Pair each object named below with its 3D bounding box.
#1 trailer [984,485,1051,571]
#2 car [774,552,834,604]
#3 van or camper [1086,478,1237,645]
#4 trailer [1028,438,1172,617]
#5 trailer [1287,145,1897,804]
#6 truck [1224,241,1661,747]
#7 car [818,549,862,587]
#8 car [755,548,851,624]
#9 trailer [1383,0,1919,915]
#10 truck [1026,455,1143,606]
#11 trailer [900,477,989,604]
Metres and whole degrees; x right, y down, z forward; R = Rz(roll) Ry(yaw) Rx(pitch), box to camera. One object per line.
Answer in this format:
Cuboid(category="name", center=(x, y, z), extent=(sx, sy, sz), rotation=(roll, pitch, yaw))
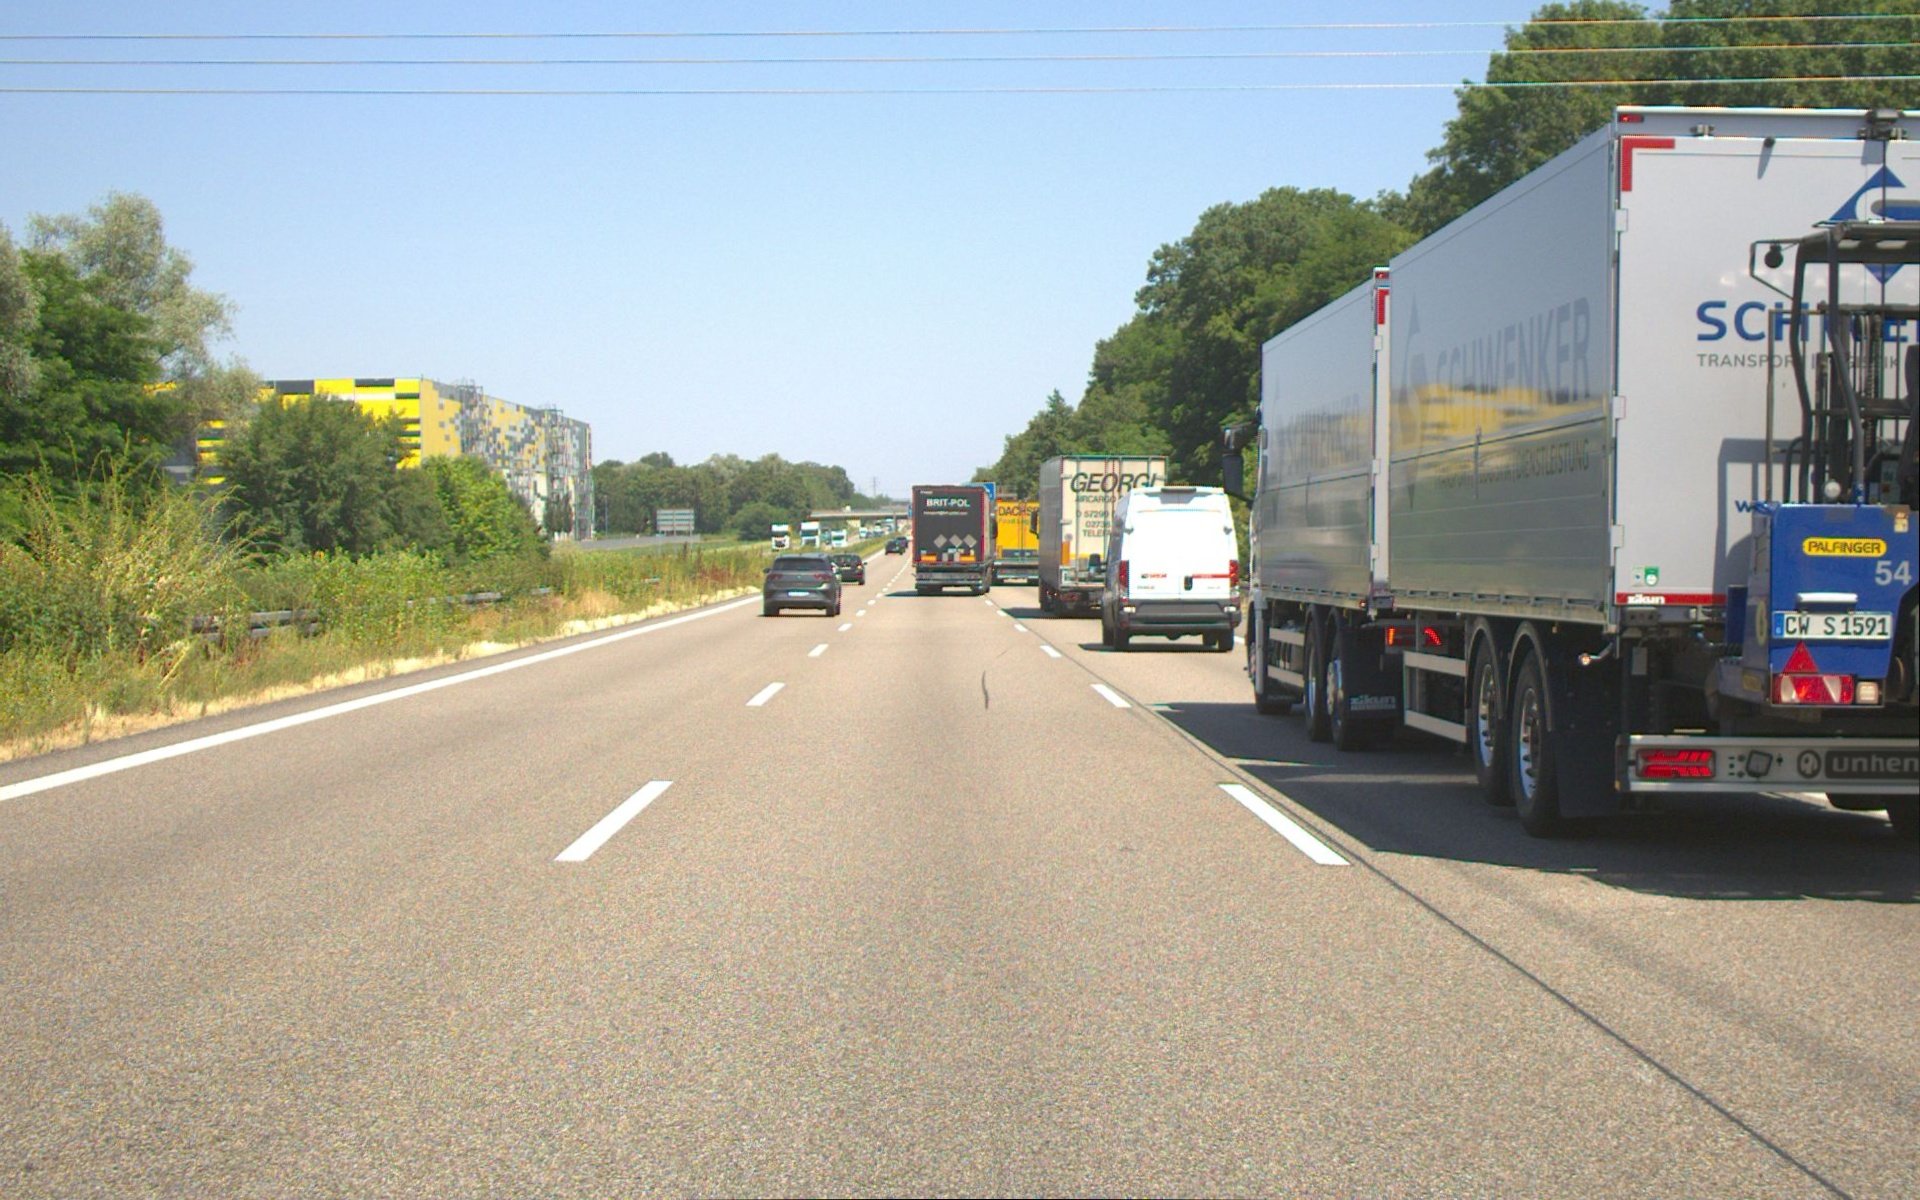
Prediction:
Cuboid(category="trailer", center=(2.664, -3.439, 163.024), extent=(2.834, 3.940, 11.685), rotation=(0, 1, -1))
Cuboid(category="car", center=(-5.352, -0.785, 118.311), extent=(1.993, 1.722, 4.131), rotation=(0, 1, -1))
Cuboid(category="van or camper", center=(3.317, -0.663, 57.758), extent=(2.022, 2.628, 6.488), rotation=(1, 1, -1))
Cuboid(category="trailer", center=(3.501, -1.866, 89.453), extent=(2.993, 4.274, 13.419), rotation=(1, 1, -1))
Cuboid(category="trailer", center=(4.245, -0.822, 24.859), extent=(2.920, 4.027, 7.317), rotation=(1, 1, -1))
Cuboid(category="truck", center=(4.127, -0.894, 30.947), extent=(2.889, 4.016, 6.870), rotation=(1, 1, 0))
Cuboid(category="car", center=(-5.580, -1.502, 159.661), extent=(1.941, 1.700, 4.000), rotation=(0, 1, -1))
Cuboid(category="car", center=(-3.895, -0.376, 86.333), extent=(2.216, 1.784, 5.394), rotation=(-1, 1, -1))
Cuboid(category="trailer", center=(4.332, -0.752, 18.532), extent=(2.945, 4.049, 8.129), rotation=(1, 1, -1))
Cuboid(category="truck", center=(3.448, -1.935, 96.427), extent=(3.002, 4.110, 5.253), rotation=(0, 1, -1))
Cuboid(category="trailer", center=(-0.680, -2.252, 129.617), extent=(3.106, 4.491, 14.897), rotation=(0, 1, -1))
